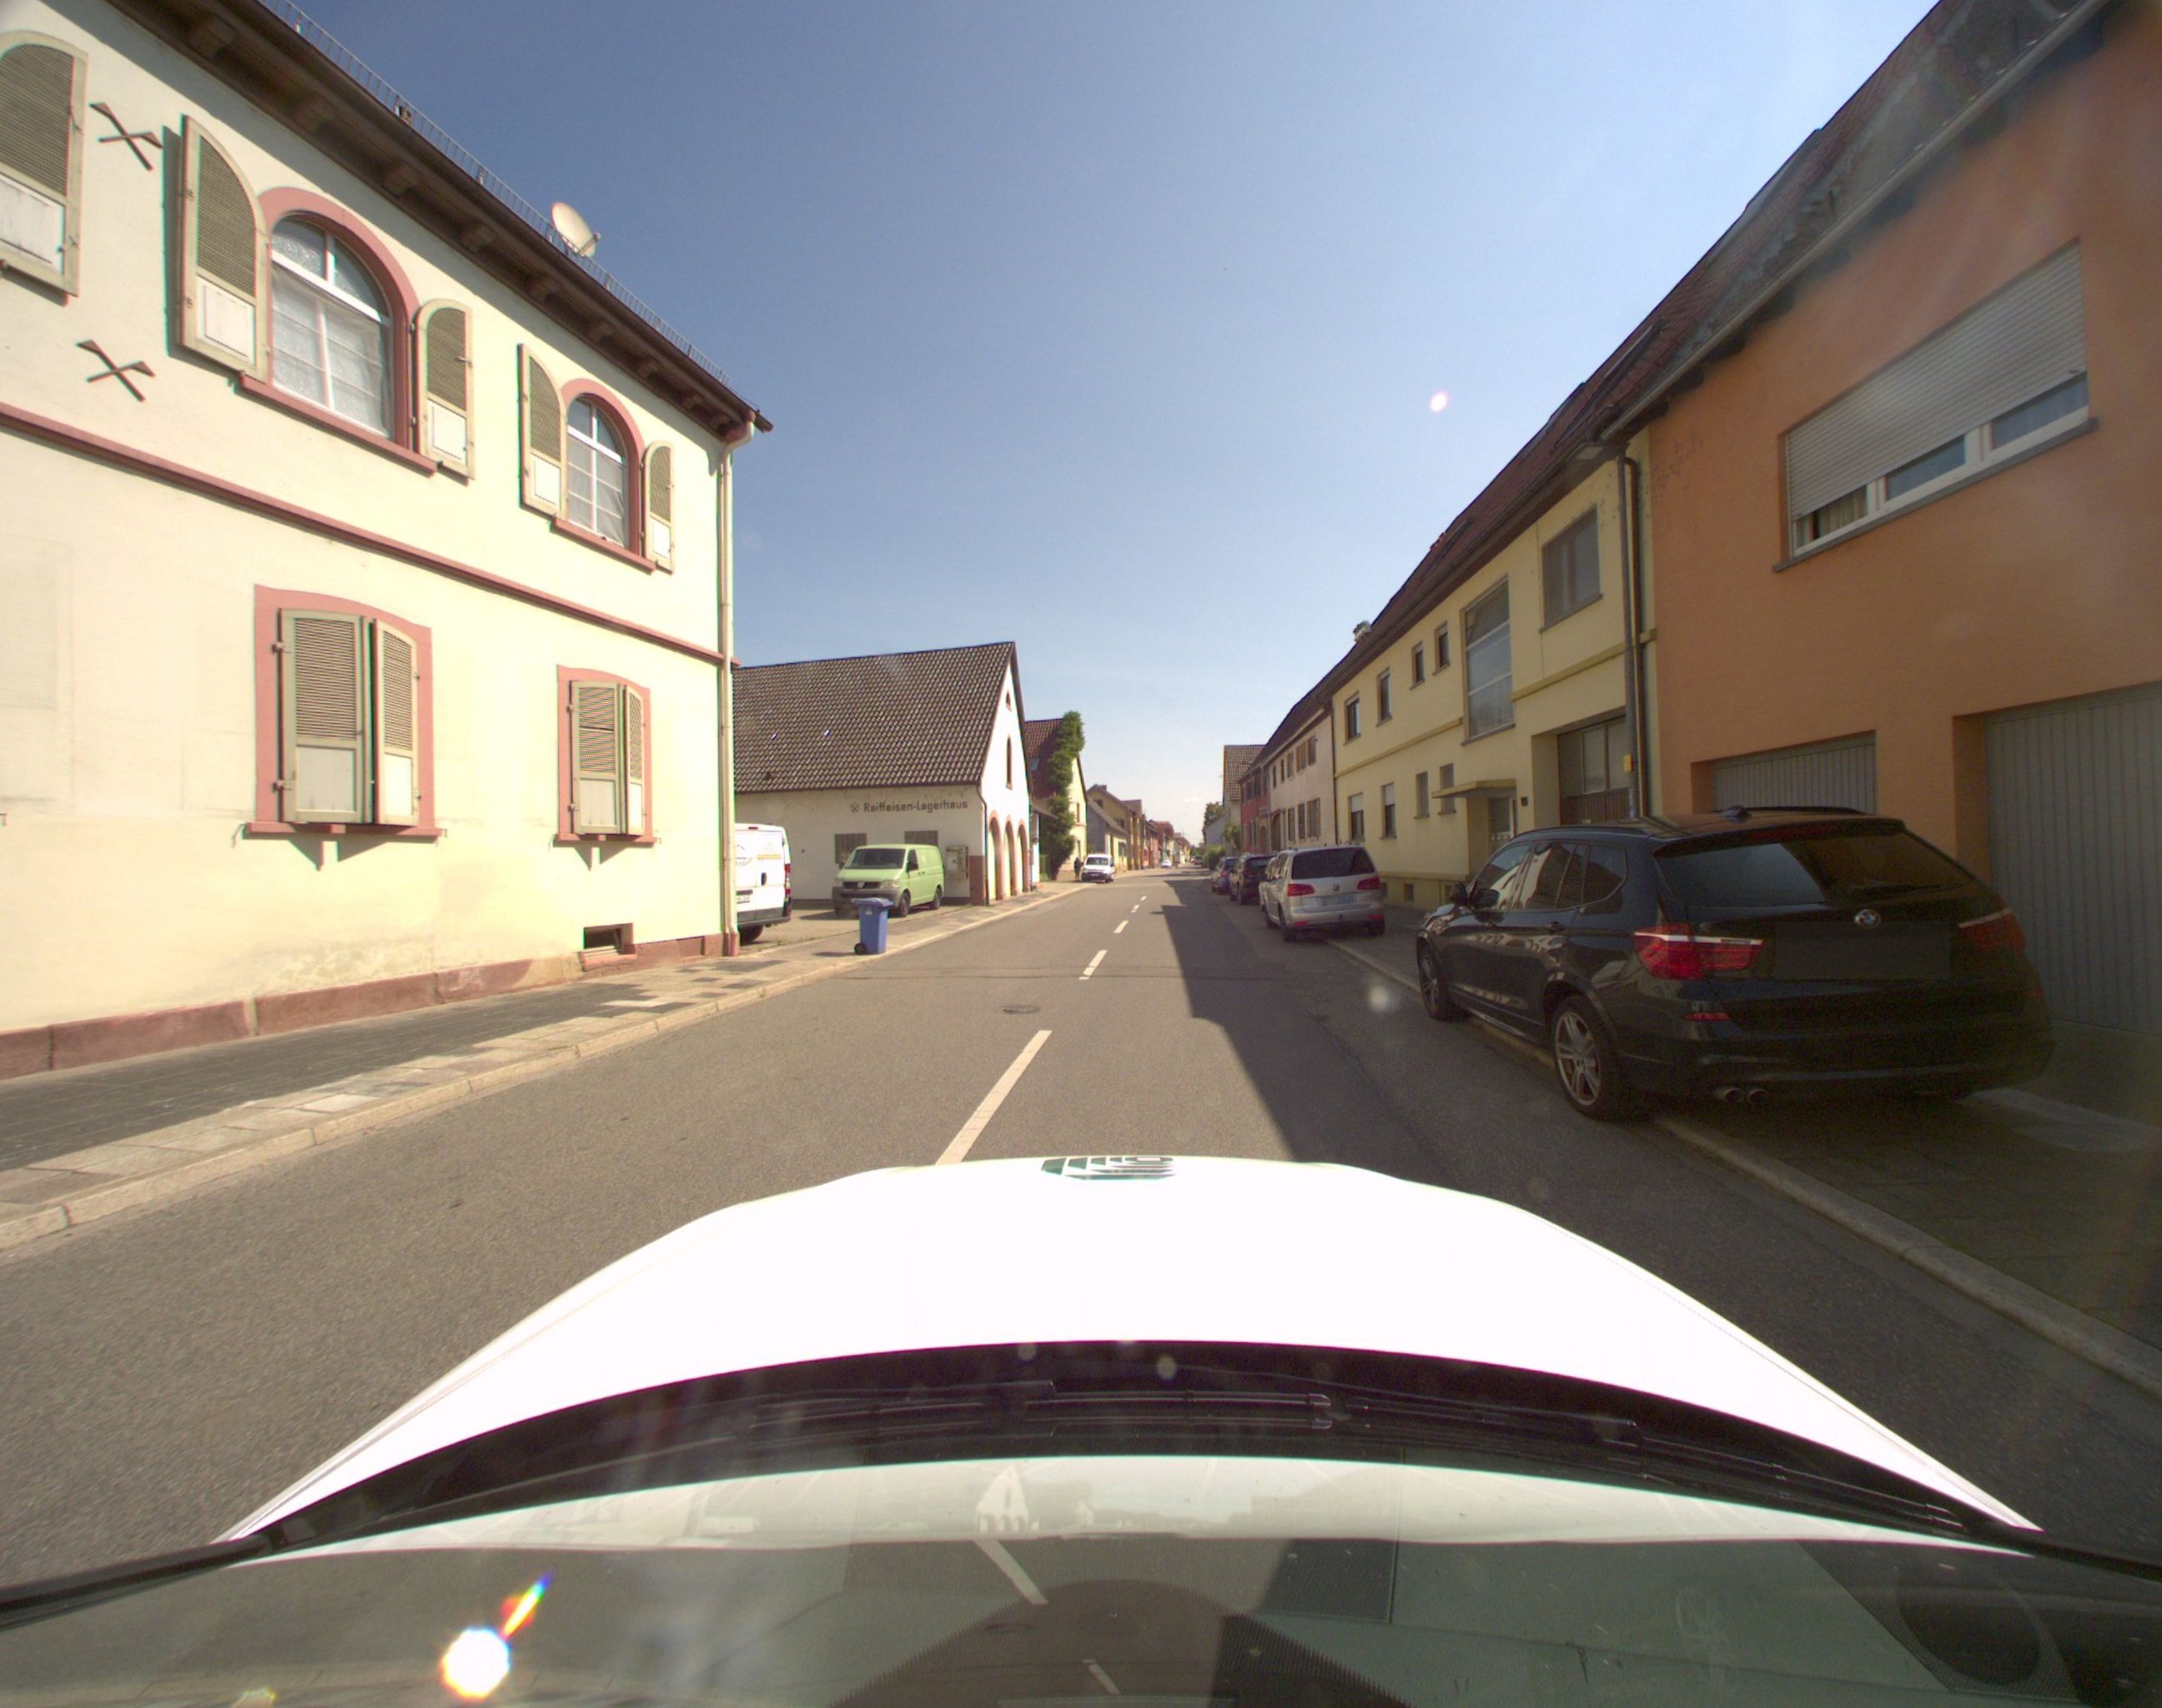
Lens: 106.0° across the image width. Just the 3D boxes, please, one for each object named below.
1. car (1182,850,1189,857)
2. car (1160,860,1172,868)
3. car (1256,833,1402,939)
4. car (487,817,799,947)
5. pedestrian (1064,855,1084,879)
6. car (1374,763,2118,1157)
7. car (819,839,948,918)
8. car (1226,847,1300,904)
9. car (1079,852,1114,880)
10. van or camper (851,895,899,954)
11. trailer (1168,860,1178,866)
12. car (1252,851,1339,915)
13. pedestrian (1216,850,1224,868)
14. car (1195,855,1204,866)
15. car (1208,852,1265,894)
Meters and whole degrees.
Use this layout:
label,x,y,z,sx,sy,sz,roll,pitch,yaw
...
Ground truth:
label,x,y,z,sx,sy,sz,roll,pitch,yaw
car,33.118,-0.208,258.326,2.147,2.080,4.007,-2,-2,6
car,15.278,1.807,145.692,1.982,1.442,4.008,-2,-1,8
car,4.520,0.545,15.491,1.888,1.728,4.256,-1,0,6
car,-8.257,0.509,15.457,5.136,2.197,2.131,-1,0,16
pedestrian,-0.449,0.841,52.422,1.131,1.552,1.018,-1,-1,4
car,3.832,0.498,6.191,1.834,1.702,5.190,-2,0,7
car,-5.421,0.637,23.106,1.983,1.964,4.678,-1,0,7
car,5.709,0.647,25.976,1.691,1.584,4.032,-3,-1,5
car,1.038,0.741,51.889,1.846,1.647,4.436,-1,0,5
van or camper,-3.495,1.189,13.850,0.585,0.951,0.602,-1,-1,11
trailer,18.374,1.729,162.187,1.983,1.090,4.008,-2,1,6
car,5.379,0.691,20.808,1.543,1.438,3.727,-3,-1,6
pedestrian,13.179,0.466,77.357,0.714,1.664,0.895,-1,-1,11
car,28.761,1.532,198.513,2.006,2.568,4.008,-2,-1,7
car,6.161,0.724,32.680,1.691,1.469,4.415,-3,-1,4
